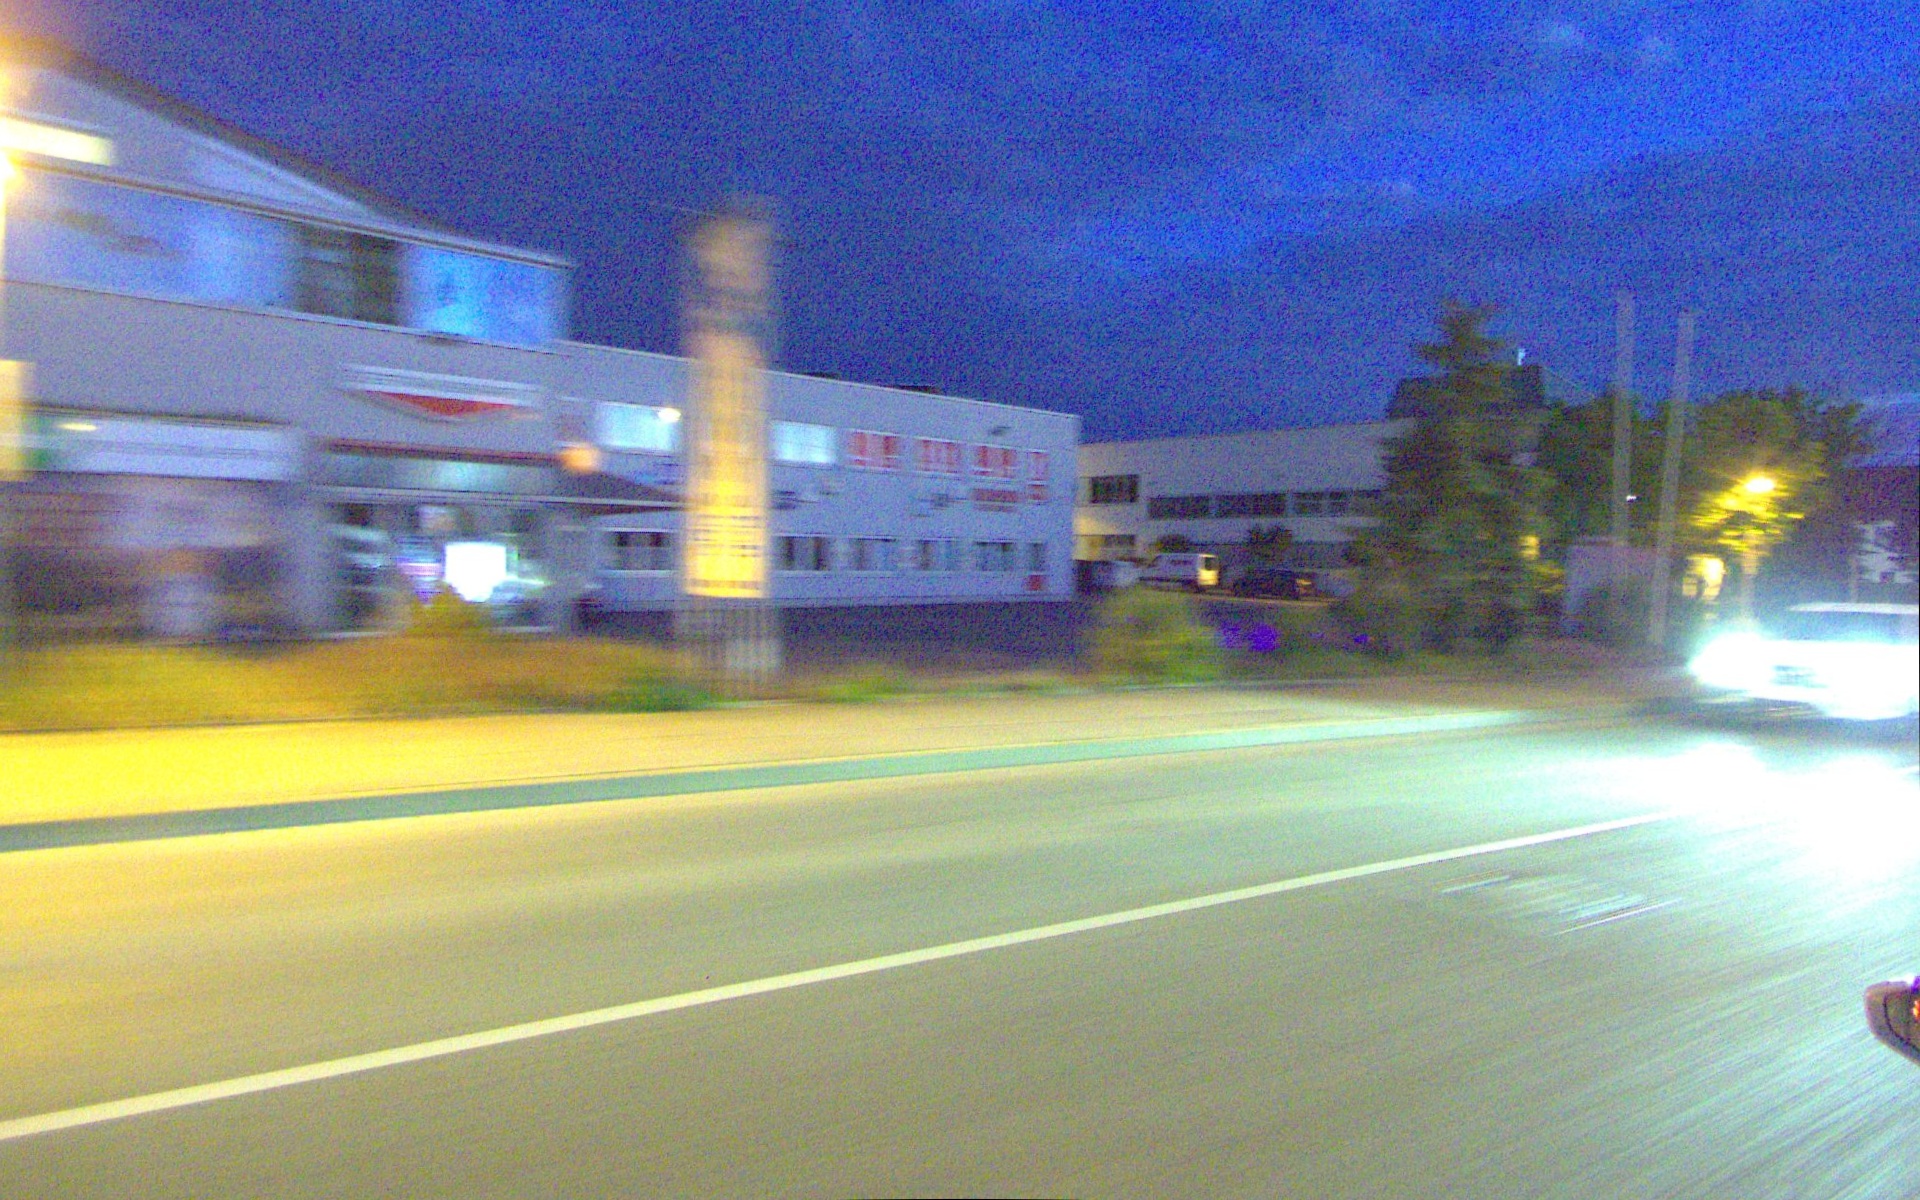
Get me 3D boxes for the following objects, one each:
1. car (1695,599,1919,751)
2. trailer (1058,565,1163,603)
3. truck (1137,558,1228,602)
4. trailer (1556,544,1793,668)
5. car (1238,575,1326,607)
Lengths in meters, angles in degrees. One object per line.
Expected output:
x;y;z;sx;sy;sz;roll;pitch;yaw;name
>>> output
12.037;0.877;13.384;4.699;1.649;1.983;1;2;-32;car
7.313;-0.796;49.323;1.863;1.644;5.182;0;3;-38;trailer
13.586;-1.248;61.422;4.971;2.422;2.151;4;3;43;truck
17.441;0.118;24.750;1.977;2.756;4.326;0;1;-31;trailer
18.170;-0.551;56.816;1.898;1.611;4.290;0;3;-45;car
